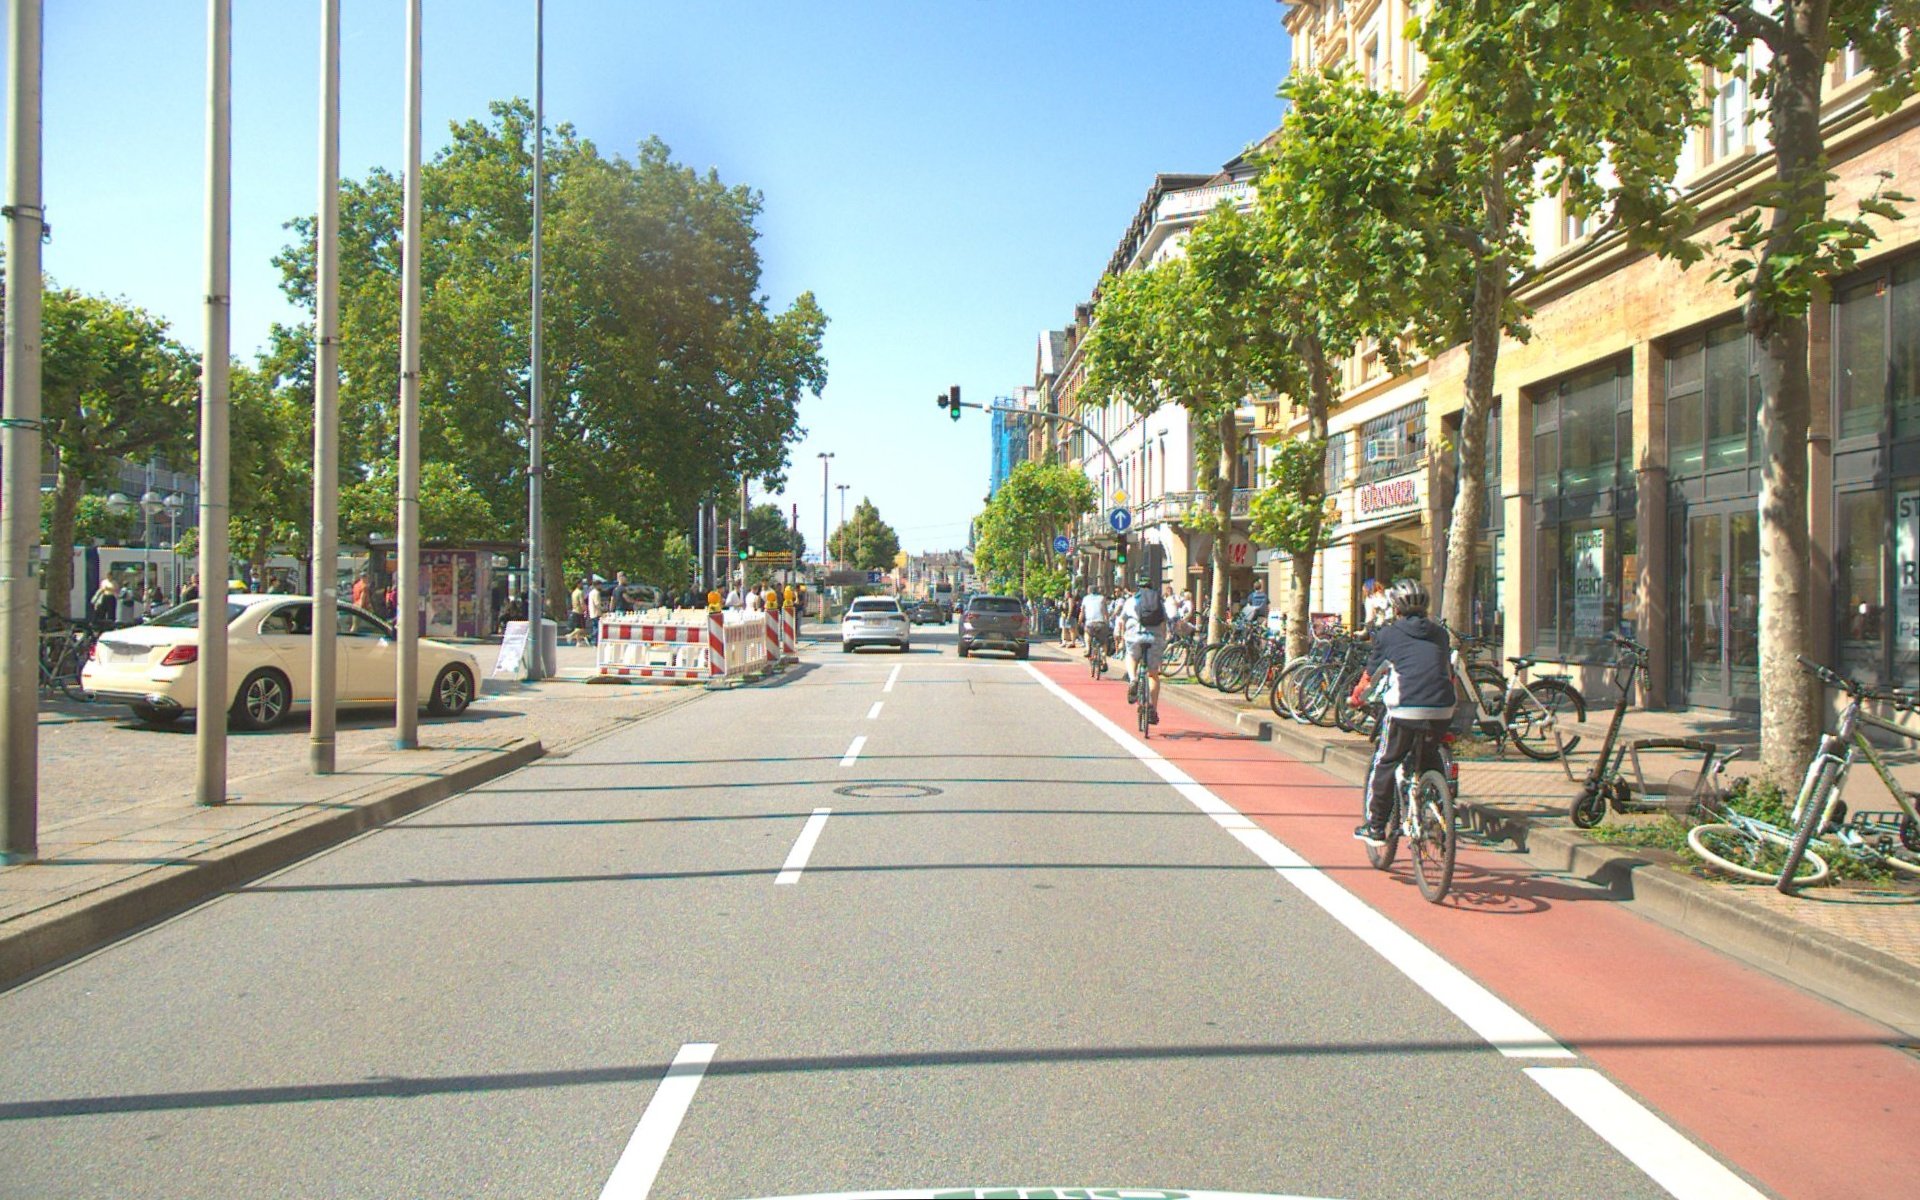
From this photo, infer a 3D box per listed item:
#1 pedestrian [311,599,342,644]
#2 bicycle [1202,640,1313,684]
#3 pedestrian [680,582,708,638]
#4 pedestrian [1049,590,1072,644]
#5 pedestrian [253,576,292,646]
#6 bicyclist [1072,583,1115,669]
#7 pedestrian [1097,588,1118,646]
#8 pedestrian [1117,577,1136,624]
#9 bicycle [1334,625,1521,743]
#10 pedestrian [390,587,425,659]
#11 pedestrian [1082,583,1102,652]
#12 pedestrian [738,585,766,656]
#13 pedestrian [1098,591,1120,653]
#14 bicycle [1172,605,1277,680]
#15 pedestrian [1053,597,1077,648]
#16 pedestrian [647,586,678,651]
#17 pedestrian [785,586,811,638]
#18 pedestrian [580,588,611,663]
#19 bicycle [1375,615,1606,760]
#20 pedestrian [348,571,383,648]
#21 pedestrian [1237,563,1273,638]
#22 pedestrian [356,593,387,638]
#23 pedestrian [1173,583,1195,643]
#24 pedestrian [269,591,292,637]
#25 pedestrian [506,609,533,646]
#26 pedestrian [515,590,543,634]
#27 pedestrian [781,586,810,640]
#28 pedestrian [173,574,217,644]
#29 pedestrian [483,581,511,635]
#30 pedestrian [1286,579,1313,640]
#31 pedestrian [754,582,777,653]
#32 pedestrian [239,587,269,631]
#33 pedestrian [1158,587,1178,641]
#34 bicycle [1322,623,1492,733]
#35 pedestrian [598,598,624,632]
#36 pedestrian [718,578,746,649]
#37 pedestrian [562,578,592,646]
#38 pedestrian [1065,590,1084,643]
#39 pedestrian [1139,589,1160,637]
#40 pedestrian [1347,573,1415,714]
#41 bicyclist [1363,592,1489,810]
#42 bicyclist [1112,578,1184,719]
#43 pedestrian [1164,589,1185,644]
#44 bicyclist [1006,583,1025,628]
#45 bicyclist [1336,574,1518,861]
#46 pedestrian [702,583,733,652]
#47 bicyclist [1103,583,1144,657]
[{"bbox_3d":[-18.240,0.617,47.608,0.600,1.284,0.609,0,0,35],"label":"pedestrian"},{"bbox_3d":[5.110,1.060,28.368,1.818,0.728,0.655,1,0,-22],"label":"bicycle"},{"bbox_3d":[-8.890,0.333,55.235,0.619,1.842,0.731,0,-1,20],"label":"pedestrian"},{"bbox_3d":[3.364,0.562,55.293,0.598,1.770,0.677,-4,-1,-3],"label":"pedestrian"},{"bbox_3d":[-15.630,0.258,37.602,0.564,1.559,0.606,2,-1,5],"label":"pedestrian"},{"bbox_3d":[2.590,0.496,32.255,0.758,1.664,0.851,0,0,-1],"label":"bicyclist"},{"bbox_3d":[3.983,0.447,44.638,0.512,1.548,0.641,-1,-1,2],"label":"pedestrian"},{"bbox_3d":[6.480,0.027,64.312,0.662,1.823,0.612,0,-1,-1],"label":"pedestrian"},{"bbox_3d":[4.707,0.834,16.728,1.692,1.128,0.736,1,0,1],"label":"bicycle"},{"bbox_3d":[-13.847,0.575,41.456,0.564,1.769,0.606,2,-1,5],"label":"pedestrian"},{"bbox_3d":[3.749,0.495,46.995,0.512,1.931,0.641,-1,-1,2],"label":"pedestrian"},{"bbox_3d":[-5.256,0.513,41.791,0.425,1.770,0.599,2,-1,-32],"label":"pedestrian"},{"bbox_3d":[4.070,0.605,45.299,0.537,1.659,0.589,-1,-1,2],"label":"pedestrian"},{"bbox_3d":[4.839,0.776,30.266,1.795,1.332,0.684,1,0,-21],"label":"bicycle"},{"bbox_3d":[3.347,0.714,52.628,0.598,1.541,0.677,-4,-1,-3],"label":"pedestrian"},{"bbox_3d":[-8.716,0.528,48.503,0.619,1.891,0.687,0,-1,20],"label":"pedestrian"},{"bbox_3d":[-5.881,0.424,60.132,0.620,1.866,0.730,0,-1,28],"label":"pedestrian"},{"bbox_3d":[-9.425,0.656,42.782,0.564,1.924,0.653,2,-1,1],"label":"pedestrian"},{"bbox_3d":[4.862,0.790,15.250,1.891,1.270,0.736,1,0,1],"label":"bicycle"},{"bbox_3d":[-14.998,0.244,41.723,0.655,1.912,0.624,2,-1,-33],"label":"pedestrian"},{"bbox_3d":[7.268,0.024,40.829,0.644,1.821,1.232,0,-2,-1],"label":"pedestrian"},{"bbox_3d":[-17.232,0.454,48.407,0.599,1.284,0.611,0,0,25],"label":"pedestrian"},{"bbox_3d":[6.248,0.362,46.175,0.537,1.669,0.589,-1,-1,2],"label":"pedestrian"},{"bbox_3d":[-19.358,0.396,47.117,0.601,1.284,0.608,1,0,-23],"label":"pedestrian"},{"bbox_3d":[-15.498,0.967,58.218,0.619,1.316,0.731,0,-1,20],"label":"pedestrian"},{"bbox_3d":[-14.929,0.424,57.267,0.619,1.504,0.731,0,-1,20],"label":"pedestrian"},{"bbox_3d":[-4.961,0.387,49.804,0.619,1.623,0.687,0,-1,20],"label":"pedestrian"},{"bbox_3d":[-19.877,0.240,42.970,0.593,1.780,0.802,1,-1,30],"label":"pedestrian"},{"bbox_3d":[-16.053,0.280,57.393,0.619,1.841,0.615,-4,-2,19],"label":"pedestrian"},{"bbox_3d":[10.295,0.286,50.157,0.579,1.833,0.547,-2,-1,45],"label":"pedestrian"},{"bbox_3d":[-5.393,0.479,45.851,0.521,1.953,0.560,0,-1,1],"label":"pedestrian"},{"bbox_3d":[-20.632,0.264,48.353,0.601,1.284,0.608,0,0,44],"label":"pedestrian"},{"bbox_3d":[6.329,0.423,50.394,0.512,1.640,0.641,-1,-1,-1],"label":"pedestrian"},{"bbox_3d":[4.744,0.825,17.581,1.692,1.128,0.402,1,0,1],"label":"bicycle"},{"bbox_3d":[-11.979,0.516,56.805,0.619,1.164,0.665,0,-1,20],"label":"pedestrian"},{"bbox_3d":[-5.938,0.355,43.087,0.528,1.811,0.606,2,-1,5],"label":"pedestrian"},{"bbox_3d":[-10.127,0.305,43.751,0.572,1.751,0.790,0,4,1],"label":"pedestrian"},{"bbox_3d":[4.058,0.579,58.688,0.598,1.855,0.677,1,-1,-3],"label":"pedestrian"},{"bbox_3d":[6.615,0.436,57.829,0.598,1.646,0.677,1,1,-3],"label":"pedestrian"},{"bbox_3d":[5.010,0.507,19.705,0.602,1.640,0.745,1,0,0],"label":"pedestrian"},{"bbox_3d":[3.070,0.645,10.937,0.588,1.381,0.720,0,1,-3],"label":"bicyclist"},{"bbox_3d":[2.080,0.515,18.398,0.617,1.507,1.198,1,0,-2],"label":"bicyclist"},{"bbox_3d":[6.442,0.489,49.692,0.512,1.637,0.641,-1,-1,-1],"label":"pedestrian"},{"bbox_3d":[1.959,0.186,58.718,0.634,1.578,0.817,1,0,-1],"label":"bicyclist"},{"bbox_3d":[2.502,0.608,8.931,0.684,1.466,0.790,2,0,-4],"label":"bicyclist"},{"bbox_3d":[-6.197,0.453,42.289,0.534,1.748,0.599,2,-1,-32],"label":"pedestrian"},{"bbox_3d":[4.120,0.509,41.727,0.569,1.828,0.846,-2,0,-35],"label":"bicyclist"}]
